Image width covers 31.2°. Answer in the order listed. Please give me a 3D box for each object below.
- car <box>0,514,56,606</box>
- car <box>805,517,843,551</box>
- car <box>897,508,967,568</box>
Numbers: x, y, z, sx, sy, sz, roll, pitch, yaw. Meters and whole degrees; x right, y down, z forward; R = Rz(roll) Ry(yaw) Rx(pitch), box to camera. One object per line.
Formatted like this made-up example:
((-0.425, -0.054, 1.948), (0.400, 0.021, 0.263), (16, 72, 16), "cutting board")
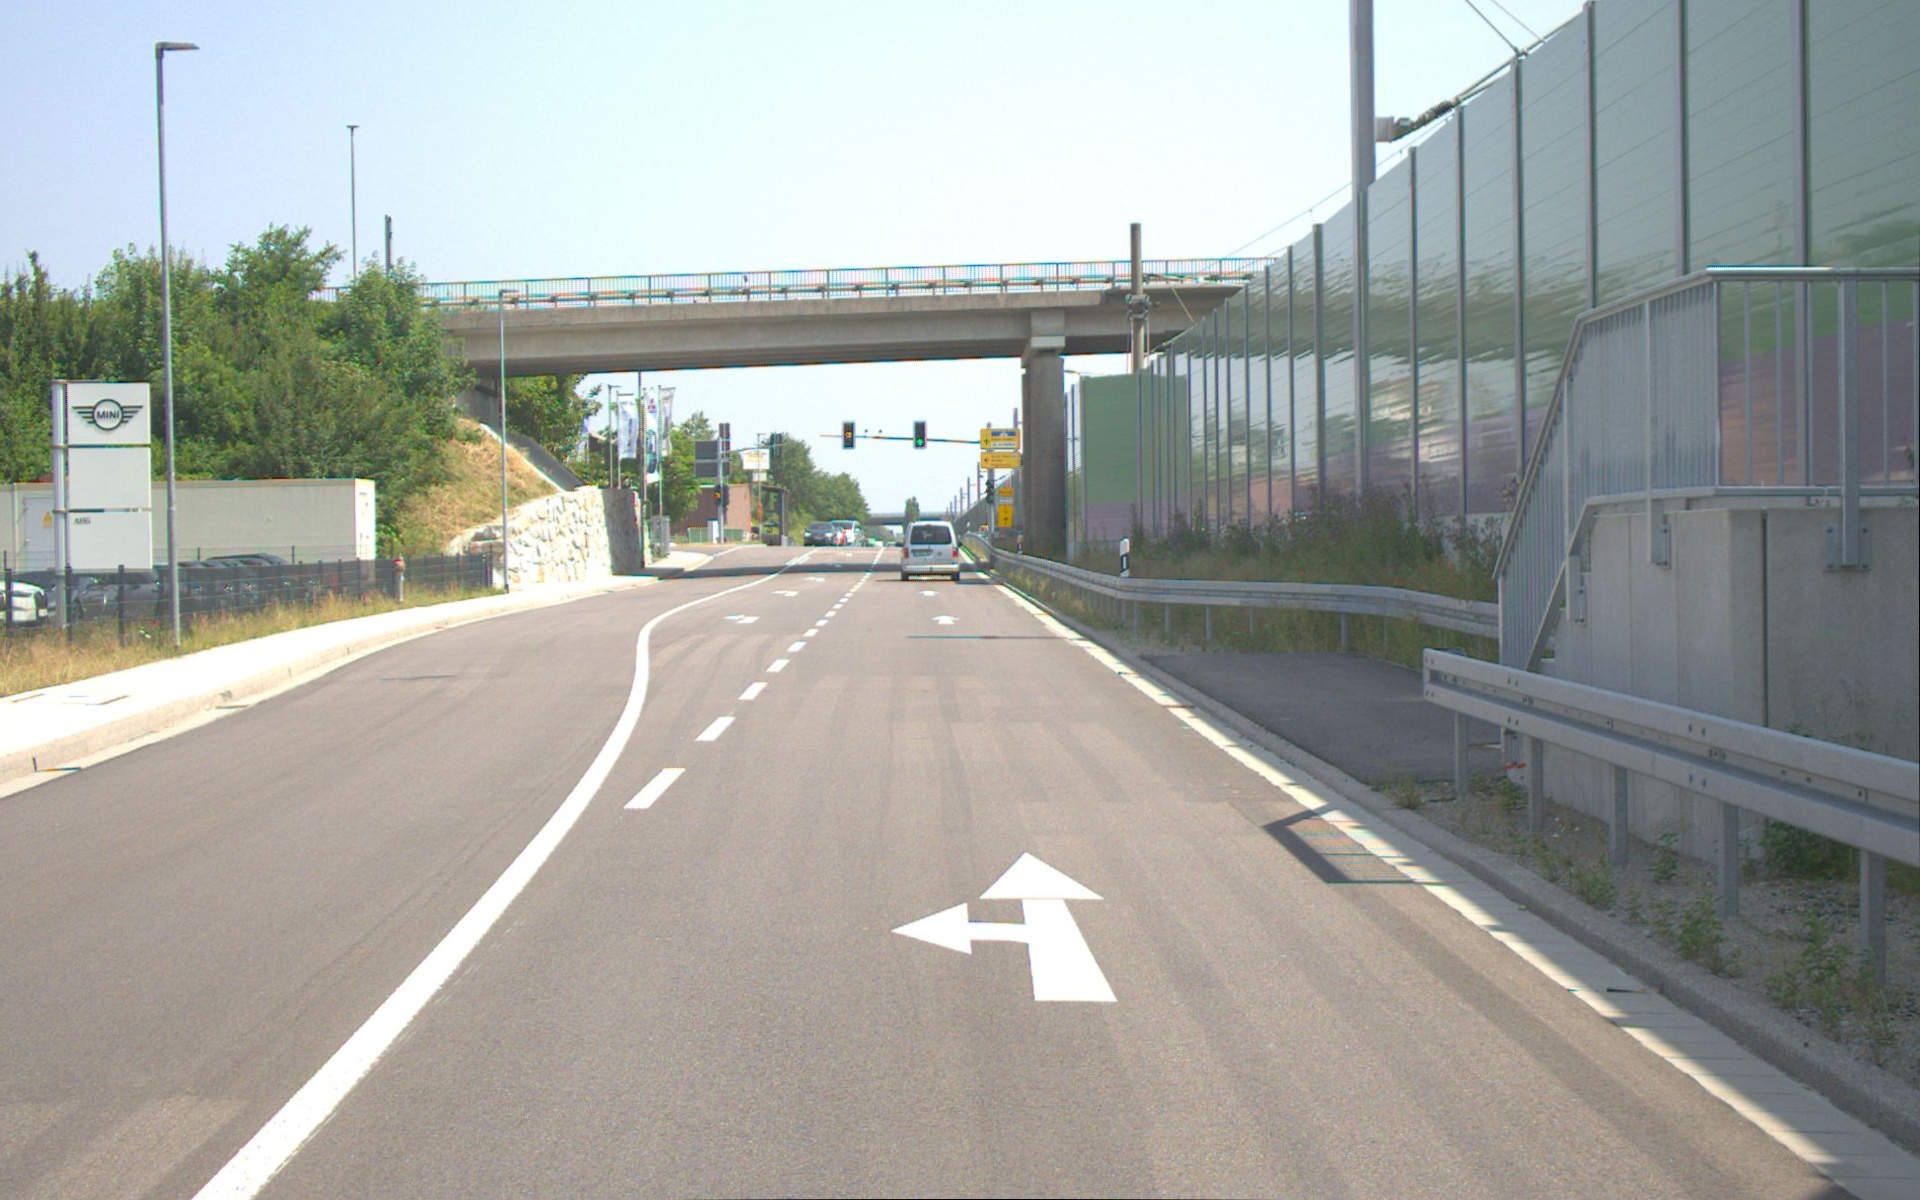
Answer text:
((-17.182, -0.619, 56.473), (4.164, 1.461, 1.815), (-1, 2, 0), "car")
((-7.849, -3.802, 198.716), (1.993, 1.919, 4.000), (-1, 1, -1), "car")
((-0.817, -1.894, 103.932), (1.993, 1.751, 4.000), (-1, 2, 1), "car")
